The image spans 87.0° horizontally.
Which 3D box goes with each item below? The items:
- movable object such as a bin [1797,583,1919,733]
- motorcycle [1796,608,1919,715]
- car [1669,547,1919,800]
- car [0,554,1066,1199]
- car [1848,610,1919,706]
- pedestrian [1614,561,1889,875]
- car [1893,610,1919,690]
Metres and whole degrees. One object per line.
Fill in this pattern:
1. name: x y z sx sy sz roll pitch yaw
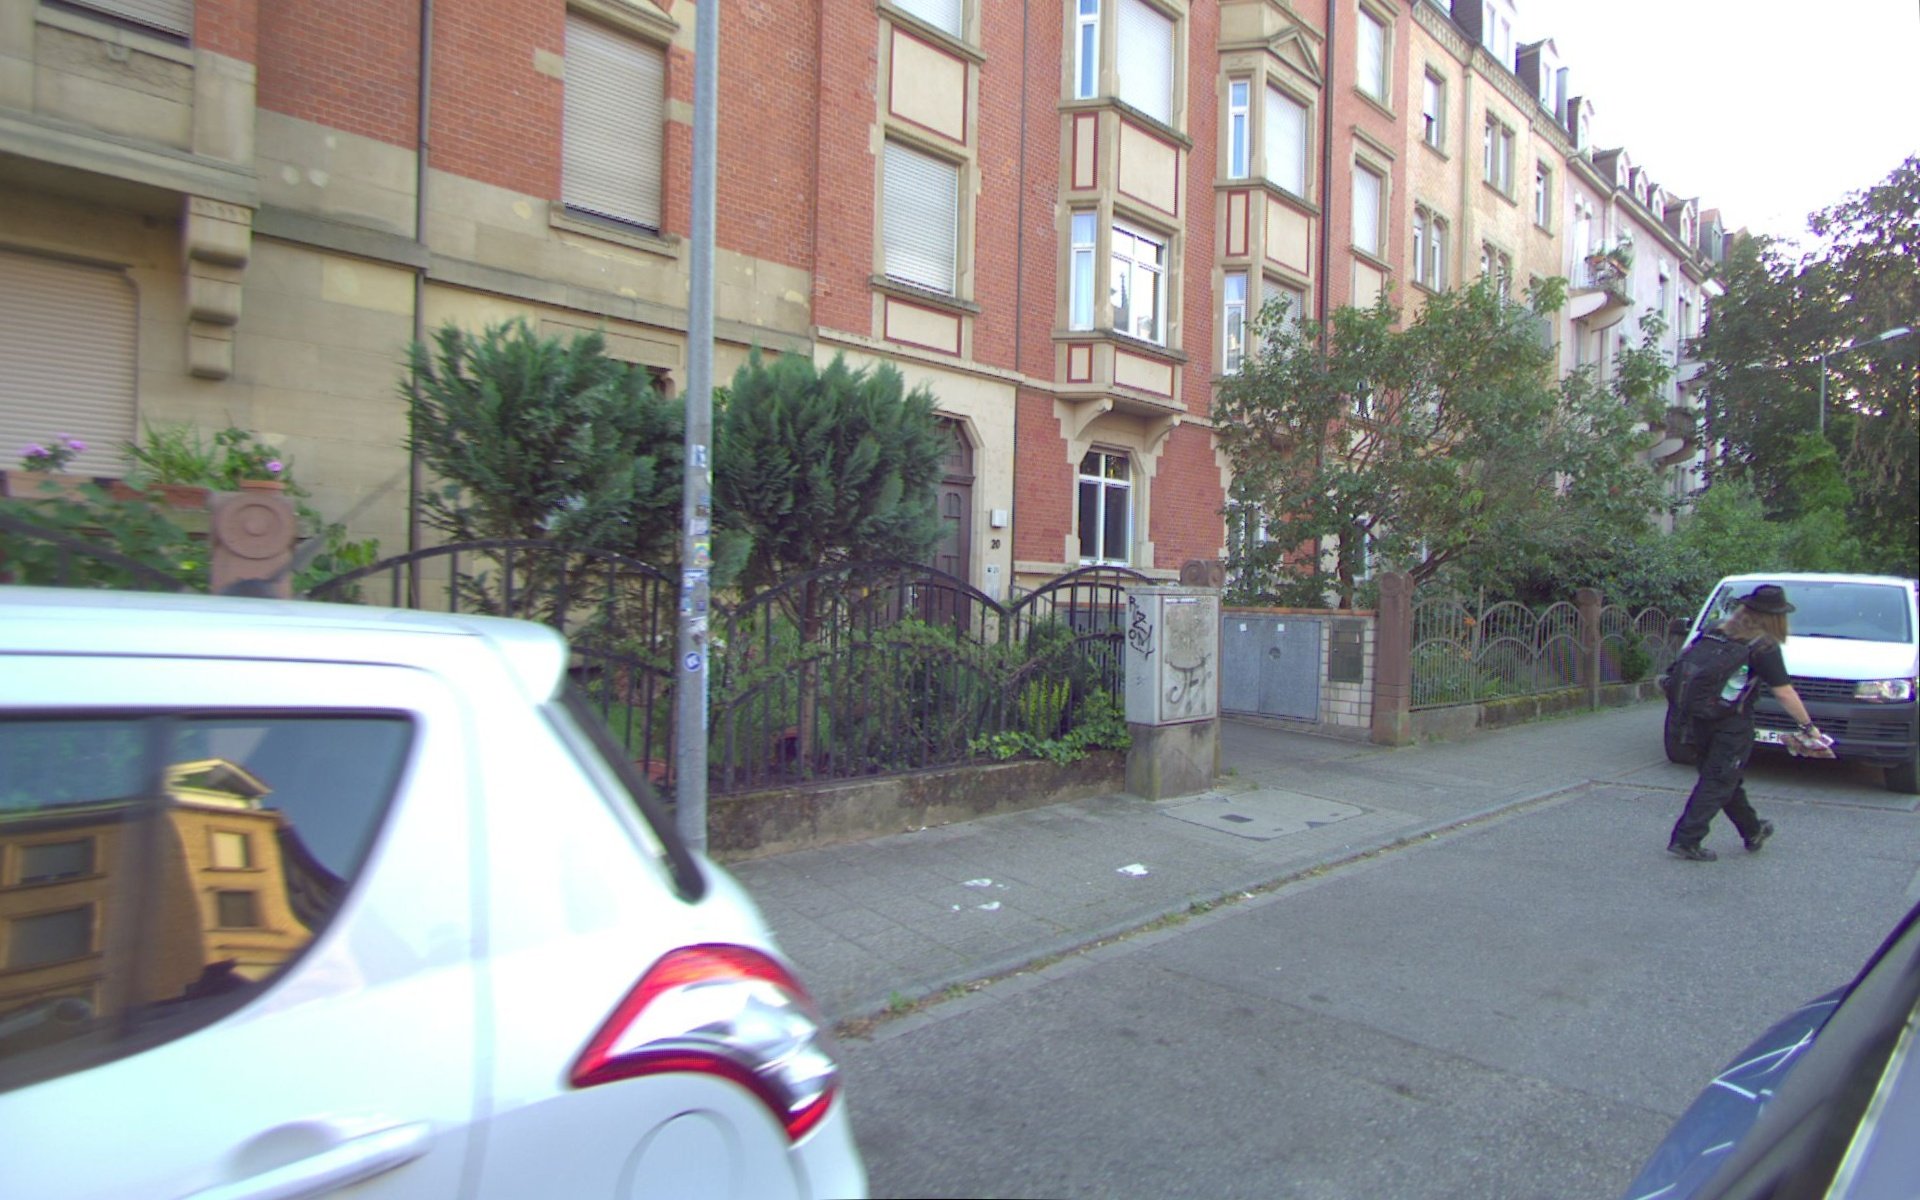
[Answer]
1. movable object such as a bin: 12.931 0.752 14.218 2.285 1.901 1.414 1 2 -42
2. motorcycle: 14.362 0.934 15.483 2.066 1.500 1.128 3 2 16
3. car: 9.416 0.595 10.776 5.450 2.064 1.864 1 2 -43
4. car: -1.847 0.700 0.917 3.791 1.496 1.678 1 0 -39
5. car: 17.427 0.978 18.050 4.247 1.571 1.724 1 0 -39
6. pedestrian: 4.747 0.661 6.139 0.939 1.744 0.892 0 -1 -9
7. car: 21.355 1.016 21.396 4.755 1.602 1.760 1 -1 -39
